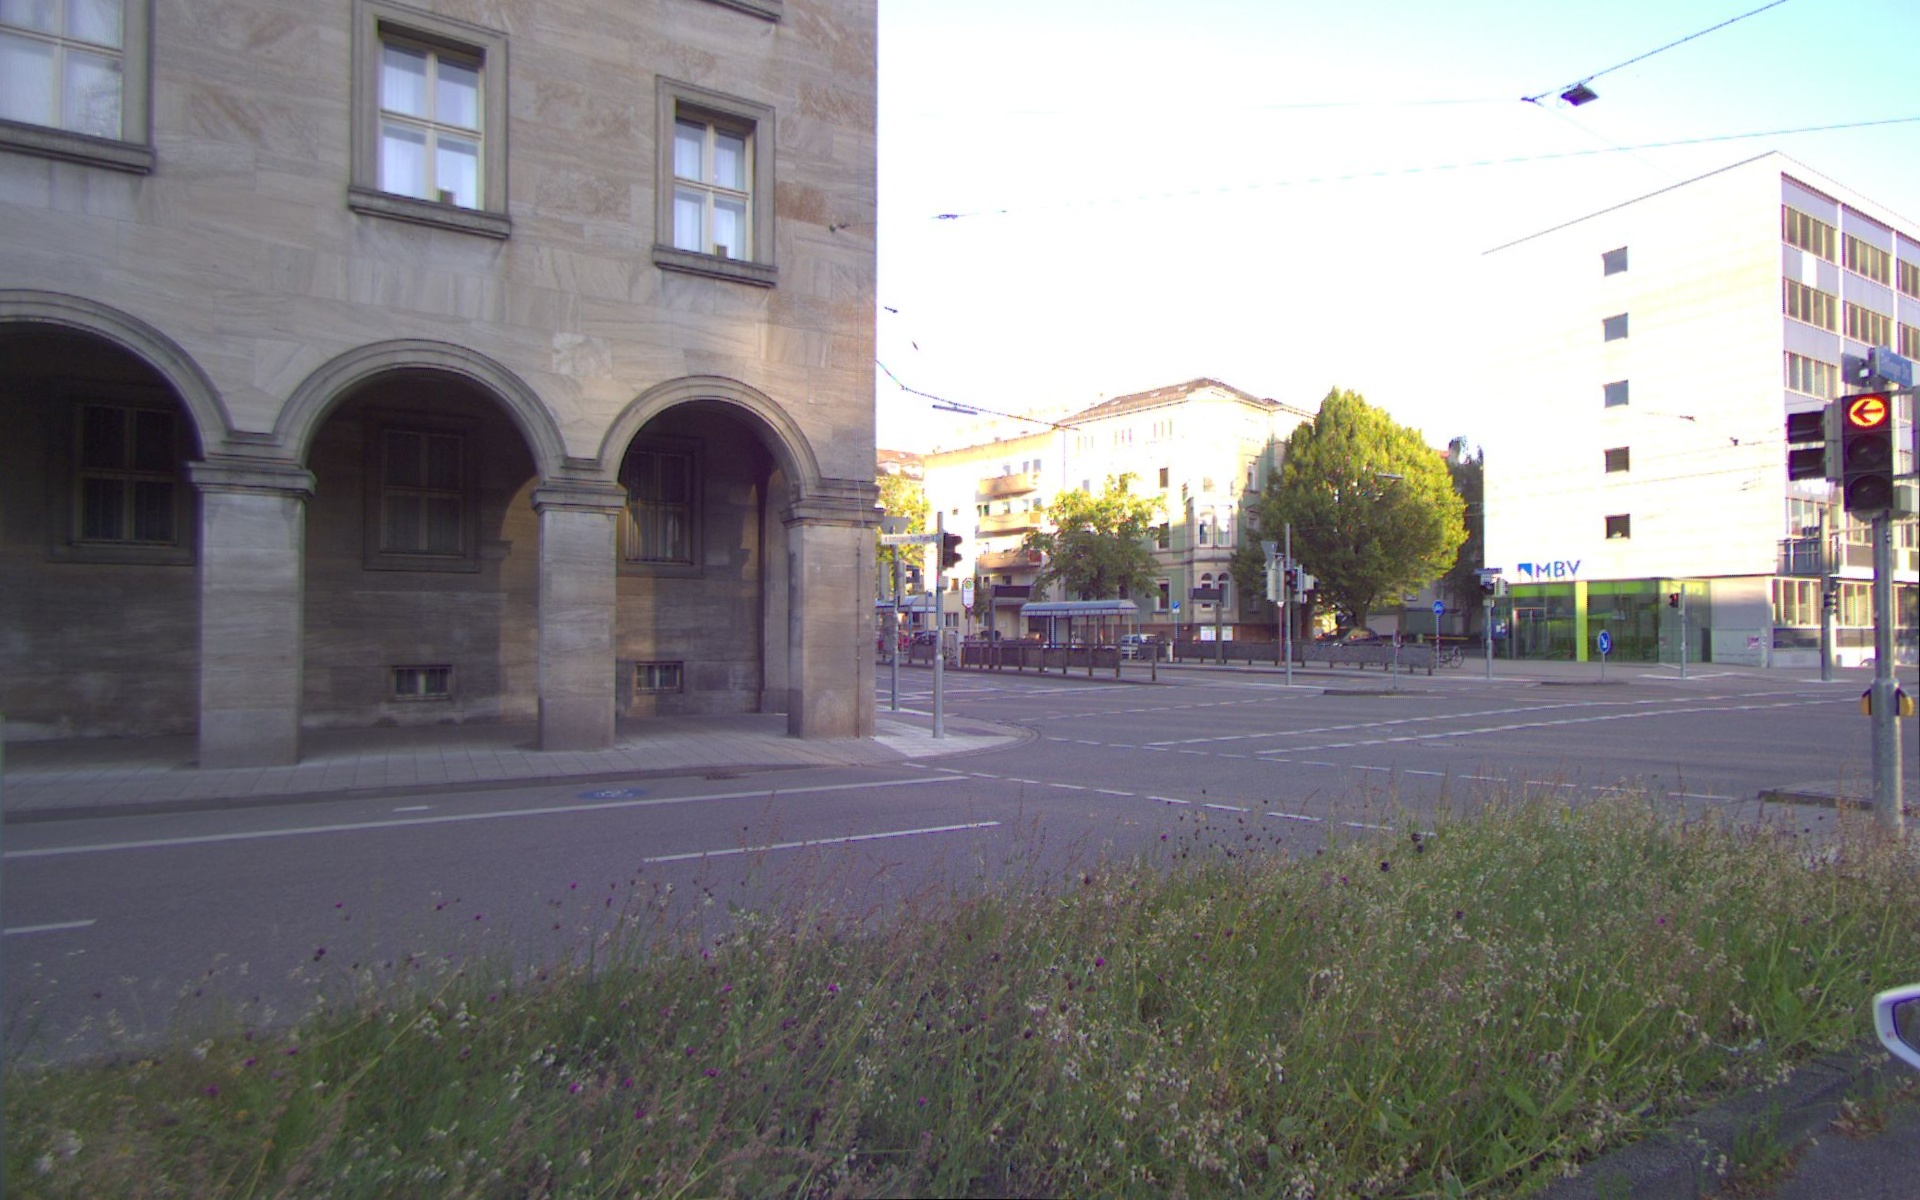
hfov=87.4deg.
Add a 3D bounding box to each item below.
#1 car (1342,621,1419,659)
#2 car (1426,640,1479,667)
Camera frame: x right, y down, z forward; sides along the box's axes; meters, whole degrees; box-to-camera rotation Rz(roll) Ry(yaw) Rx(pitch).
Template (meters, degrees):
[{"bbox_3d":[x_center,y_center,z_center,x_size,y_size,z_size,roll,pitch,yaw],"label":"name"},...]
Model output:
[{"bbox_3d":[23.227,2.199,55.443,3.954,2.040,1.984,1,-2,-31],"label":"car"},{"bbox_3d":[21.282,2.300,43.409,2.492,1.088,0.849,1,-2,-31],"label":"car"}]
